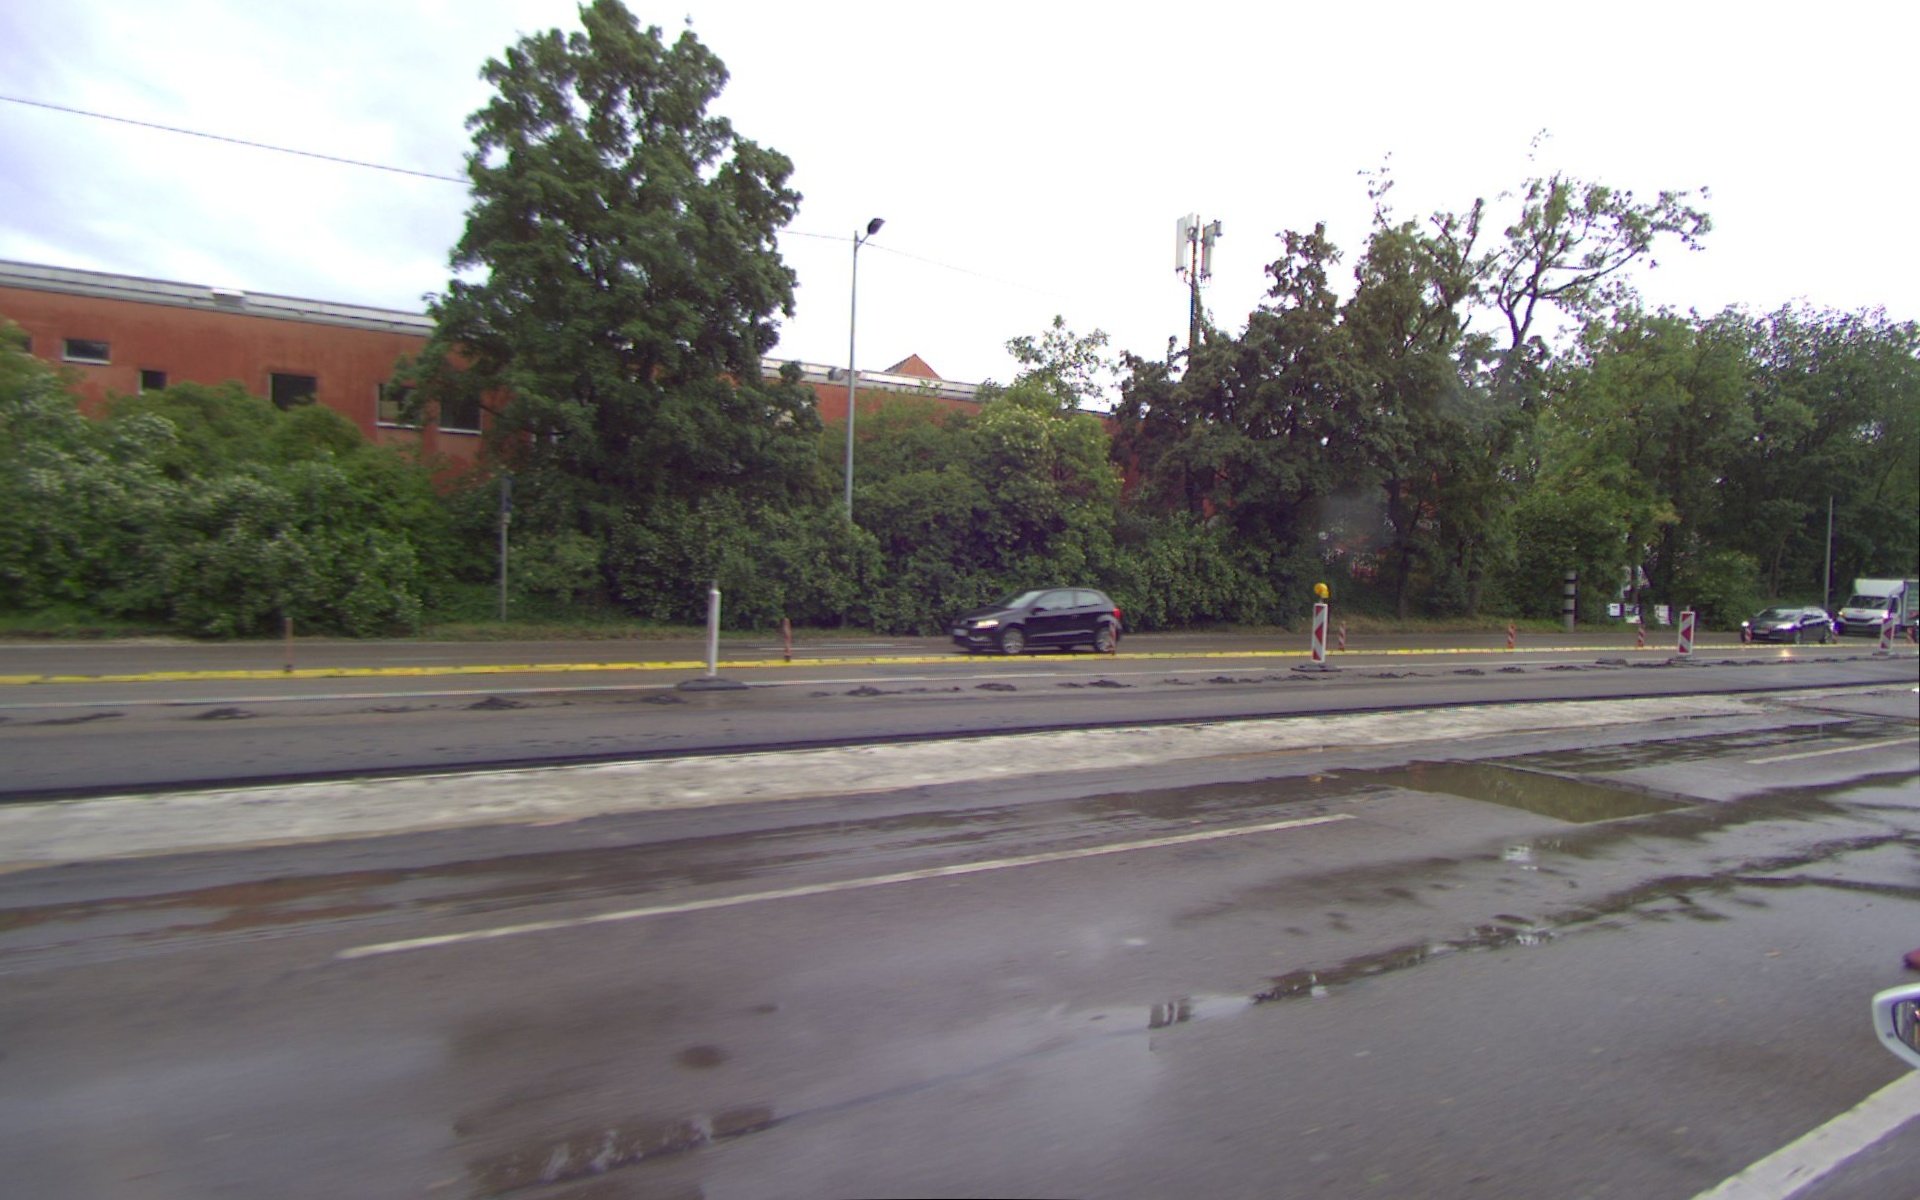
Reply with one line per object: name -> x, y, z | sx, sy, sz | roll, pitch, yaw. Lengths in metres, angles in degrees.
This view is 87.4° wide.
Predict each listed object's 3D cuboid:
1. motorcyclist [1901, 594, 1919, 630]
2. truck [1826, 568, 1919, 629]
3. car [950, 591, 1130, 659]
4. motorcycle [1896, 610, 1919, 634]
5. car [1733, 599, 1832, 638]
motorcyclist -> 43.432, 0.554, 45.526 | 0.916, 1.586, 0.824 | 0, 2, -30
truck -> 47.607, -0.074, 51.762 | 6.850, 2.979, 2.236 | 0, 1, -29
car -> 1.776, 0.509, 21.812 | 3.818, 1.350, 1.440 | 1, 1, -33
motorcycle -> 43.510, 1.008, 45.594 | 2.339, 1.028, 0.824 | 1, 2, -30
car -> 32.205, 0.702, 39.321 | 4.270, 1.434, 1.661 | 0, 1, -31
